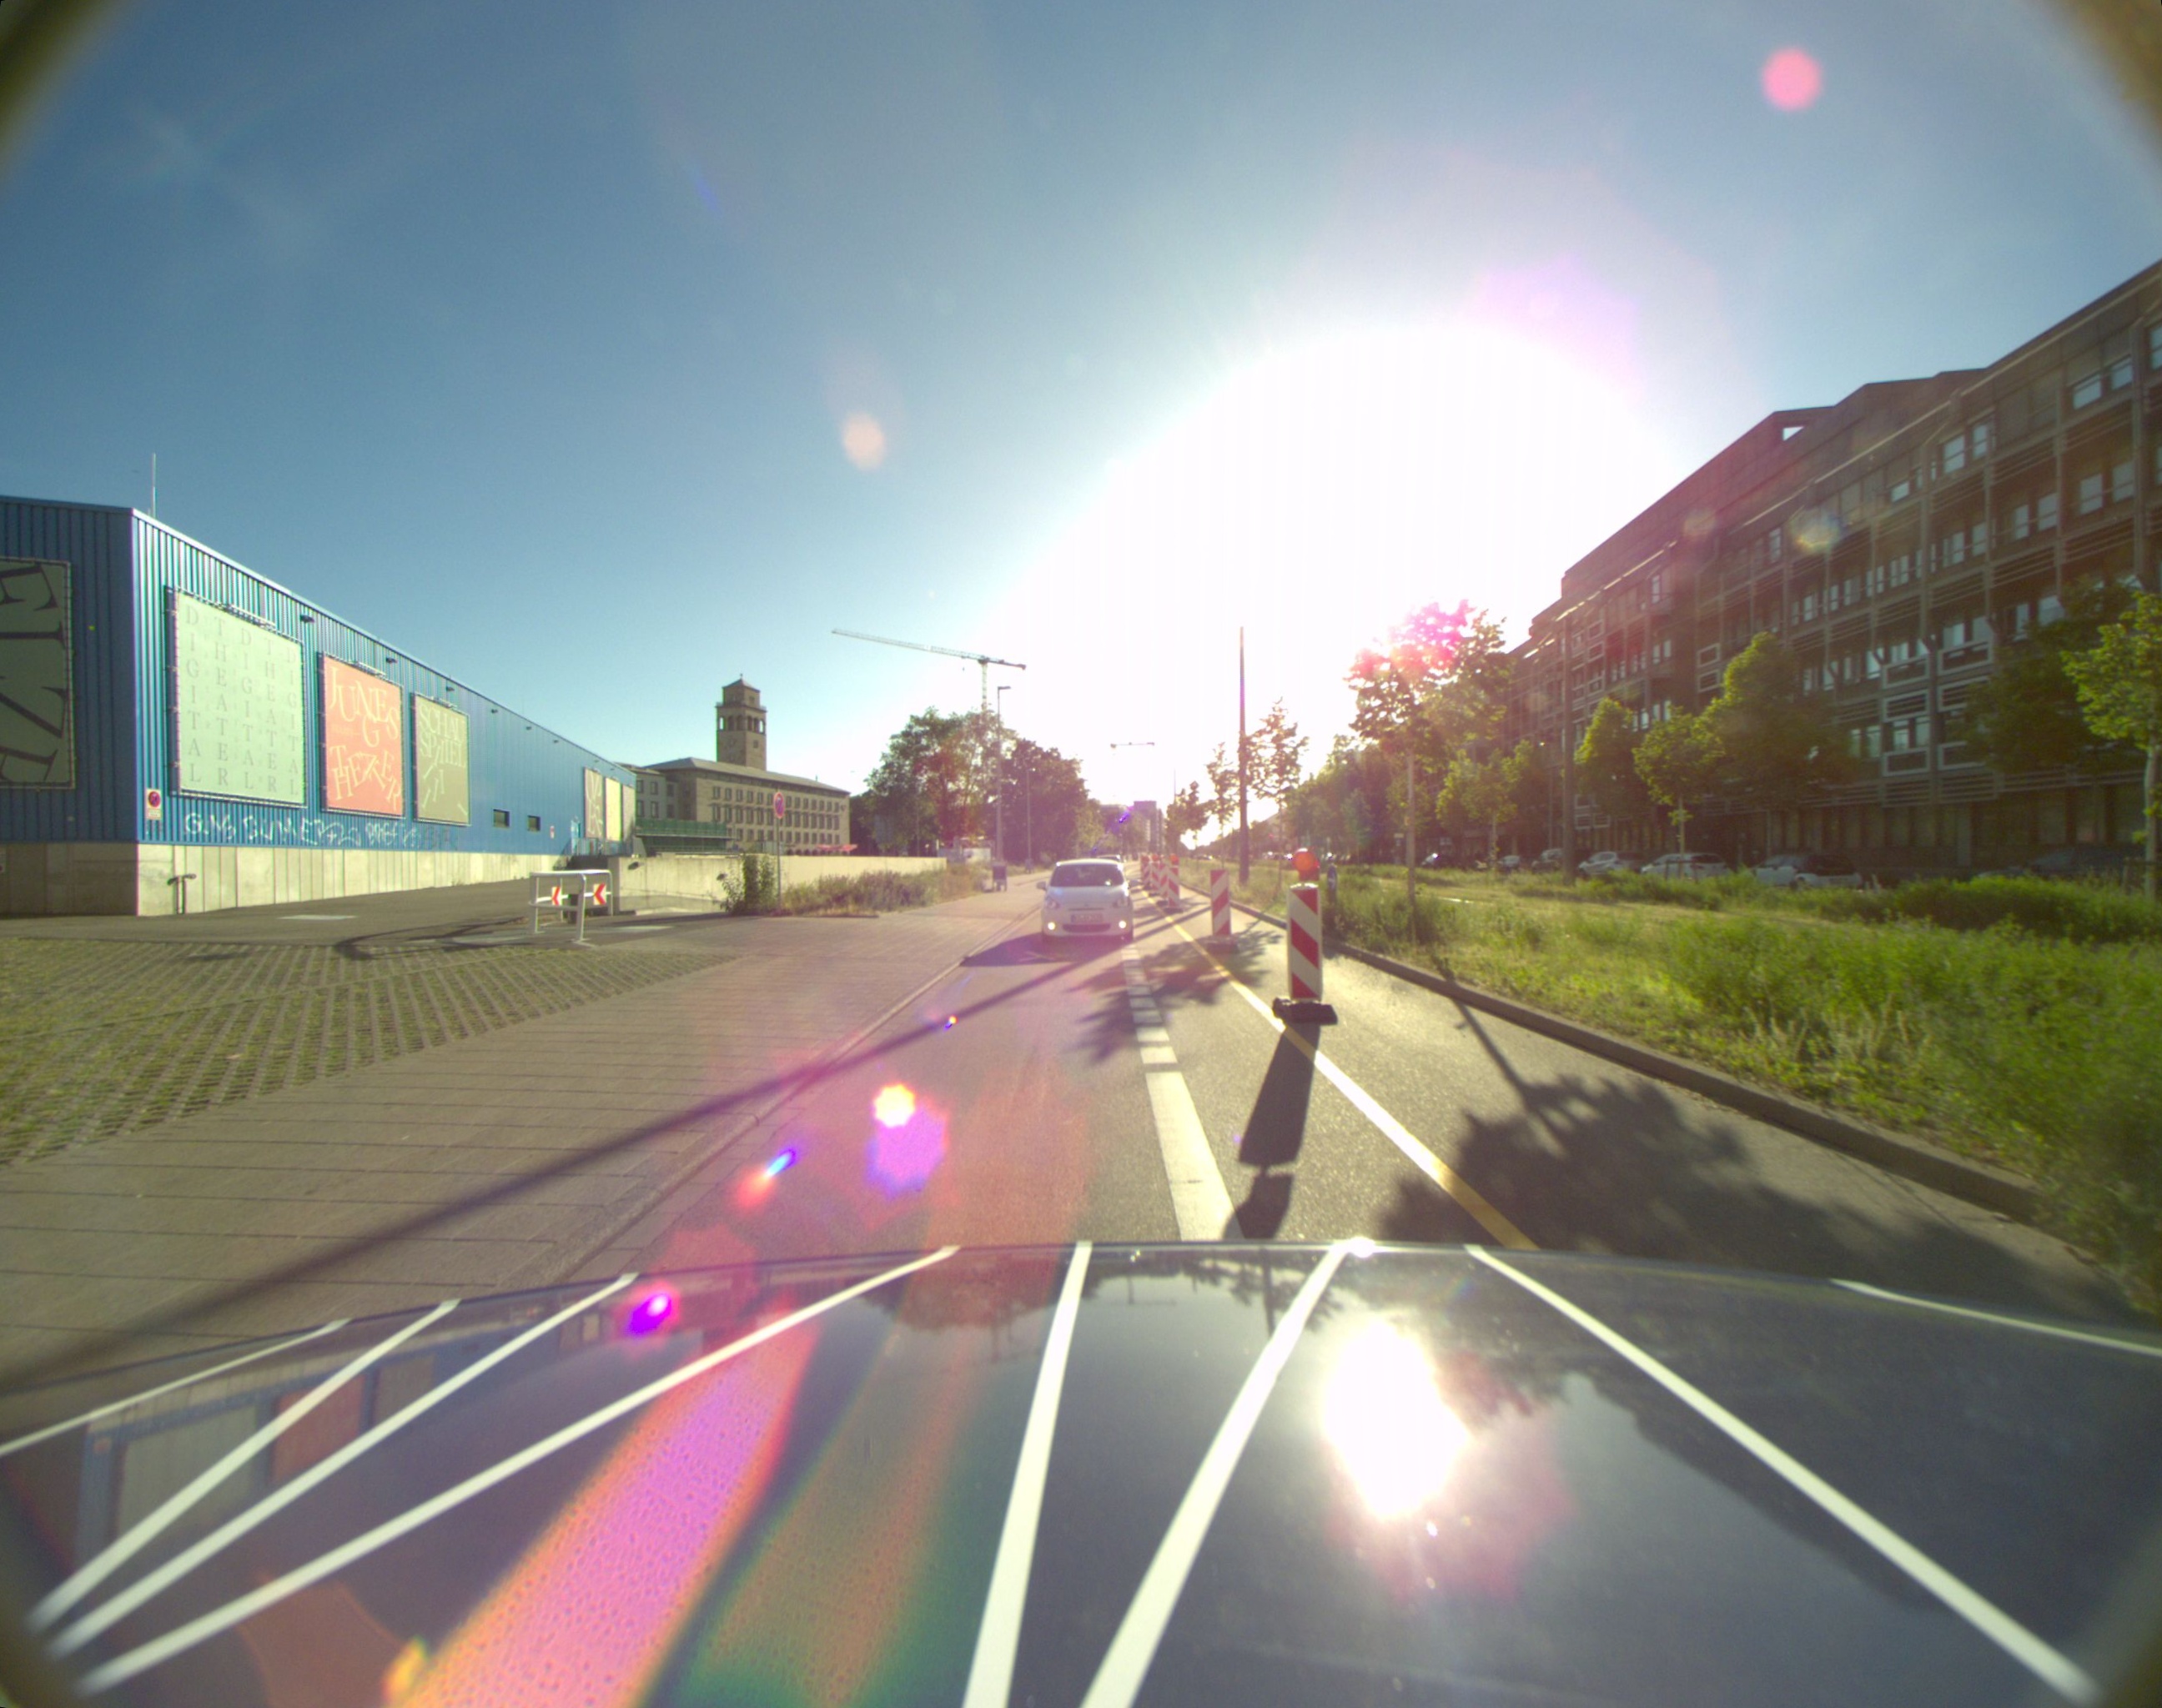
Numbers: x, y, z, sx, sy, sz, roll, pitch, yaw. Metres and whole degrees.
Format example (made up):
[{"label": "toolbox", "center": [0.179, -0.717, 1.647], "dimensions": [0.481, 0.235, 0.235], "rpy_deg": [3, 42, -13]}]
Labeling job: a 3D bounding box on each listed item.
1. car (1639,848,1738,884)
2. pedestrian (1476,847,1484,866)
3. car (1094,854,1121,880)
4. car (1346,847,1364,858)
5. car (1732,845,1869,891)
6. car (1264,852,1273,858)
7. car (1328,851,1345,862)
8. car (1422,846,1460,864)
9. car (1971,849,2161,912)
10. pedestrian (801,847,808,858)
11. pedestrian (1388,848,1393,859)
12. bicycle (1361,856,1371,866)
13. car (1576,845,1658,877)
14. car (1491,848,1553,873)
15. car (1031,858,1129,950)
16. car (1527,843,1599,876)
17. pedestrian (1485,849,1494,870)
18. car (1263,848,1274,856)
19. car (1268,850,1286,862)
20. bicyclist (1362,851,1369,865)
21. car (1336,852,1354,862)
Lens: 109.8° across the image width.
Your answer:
[{"label": "car", "center": [26.754, 0.494, 33.621], "dimensions": [1.628, 1.433, 3.820], "rpy_deg": [-2, 0, 7]}, {"label": "pedestrian", "center": [33.882, 0.203, 64.516], "dimensions": [0.521, 1.569, 0.537], "rpy_deg": [0, 1, 10]}, {"label": "car", "center": [1.583, 0.773, 46.353], "dimensions": [1.459, 1.472, 3.527], "rpy_deg": [-1, 0, -1]}, {"label": "car", "center": [40.206, -0.245, 111.596], "dimensions": [1.725, 1.535, 3.633], "rpy_deg": [-2, 0, 6]}, {"label": "car", "center": [26.532, 0.481, 28.210], "dimensions": [1.652, 1.545, 3.968], "rpy_deg": [-1, 0, 7]}, {"label": "car", "center": [38.669, 0.187, 156.666], "dimensions": [1.554, 1.371, 3.782], "rpy_deg": [0, 0, 8]}, {"label": "car", "center": [41.387, 0.397, 123.176], "dimensions": [1.725, 1.592, 3.634], "rpy_deg": [-2, -2, 6]}, {"label": "car", "center": [30.367, 0.057, 64.238], "dimensions": [1.719, 1.379, 4.042], "rpy_deg": [-3, 0, 8]}, {"label": "car", "center": [25.904, 0.599, 19.454], "dimensions": [1.734, 1.453, 3.900], "rpy_deg": [-1, 0, 3]}, {"label": "pedestrian", "center": [-32.767, -0.187, 90.050], "dimensions": [0.573, 1.288, 0.440], "rpy_deg": [-4, 2, -13]}, {"label": "pedestrian", "center": [46.690, -0.082, 114.641], "dimensions": [0.483, 1.739, 0.639], "rpy_deg": [0, 1, 8]}, {"label": "bicycle", "center": [30.596, 0.756, 81.652], "dimensions": [0.566, 1.090, 1.771], "rpy_deg": [0, 0, 6]}, {"label": "car", "center": [27.261, 0.346, 38.776], "dimensions": [1.741, 1.527, 3.886], "rpy_deg": [-2, 0, 7]}, {"label": "car", "center": [28.449, 0.404, 49.193], "dimensions": [1.733, 1.460, 4.506], "rpy_deg": [-2, 0, 5]}, {"label": "car", "center": [0.087, 0.885, 14.978], "dimensions": [1.614, 1.488, 3.395], "rpy_deg": [-3, 0, 4]}, {"label": "car", "center": [27.752, 0.302, 43.887], "dimensions": [1.754, 1.761, 4.333], "rpy_deg": [-2, 0, 7]}, {"label": "pedestrian", "center": [34.549, 0.454, 64.201], "dimensions": [0.521, 1.712, 0.537], "rpy_deg": [0, 1, 10]}, {"label": "car", "center": [40.637, -0.515, 164.850], "dimensions": [1.864, 1.671, 3.782], "rpy_deg": [0, 0, 8]}, {"label": "car", "center": [27.613, 0.279, 106.924], "dimensions": [1.732, 1.736, 4.122], "rpy_deg": [-1, 0, 5]}, {"label": "bicyclist", "center": [30.592, 0.410, 81.635], "dimensions": [0.566, 1.449, 0.706], "rpy_deg": [0, 0, 5]}, {"label": "car", "center": [40.851, 0.461, 117.679], "dimensions": [1.725, 1.477, 3.632], "rpy_deg": [-1, 0, 4]}]
